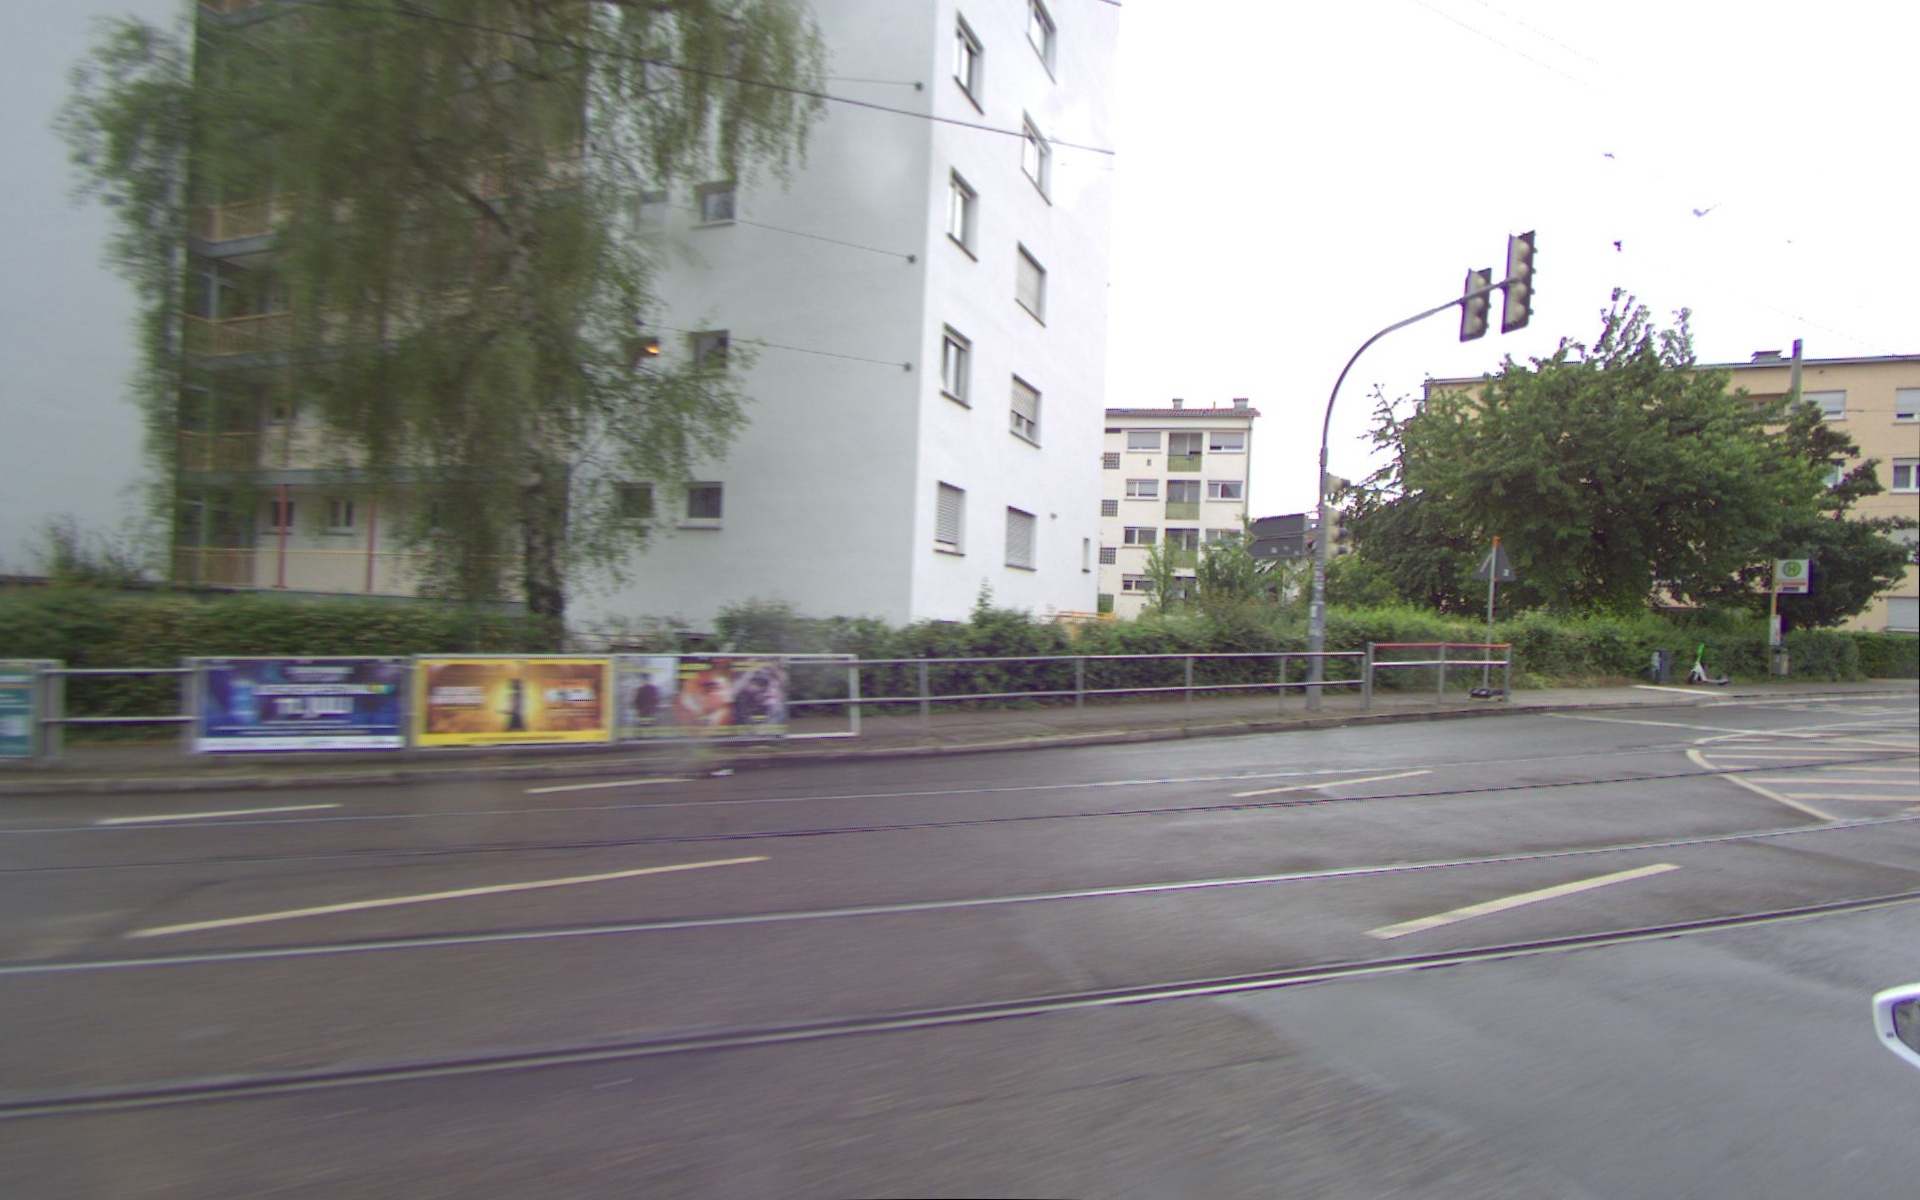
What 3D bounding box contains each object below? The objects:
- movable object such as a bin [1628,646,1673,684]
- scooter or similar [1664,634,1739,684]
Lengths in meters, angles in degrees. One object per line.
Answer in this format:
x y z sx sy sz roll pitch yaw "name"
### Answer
17.508 1.648 25.463 0.753 0.893 0.682 4 0 -36 "movable object such as a bin"
19.321 1.533 26.184 1.570 1.200 0.573 4 0 -7 "scooter or similar"
